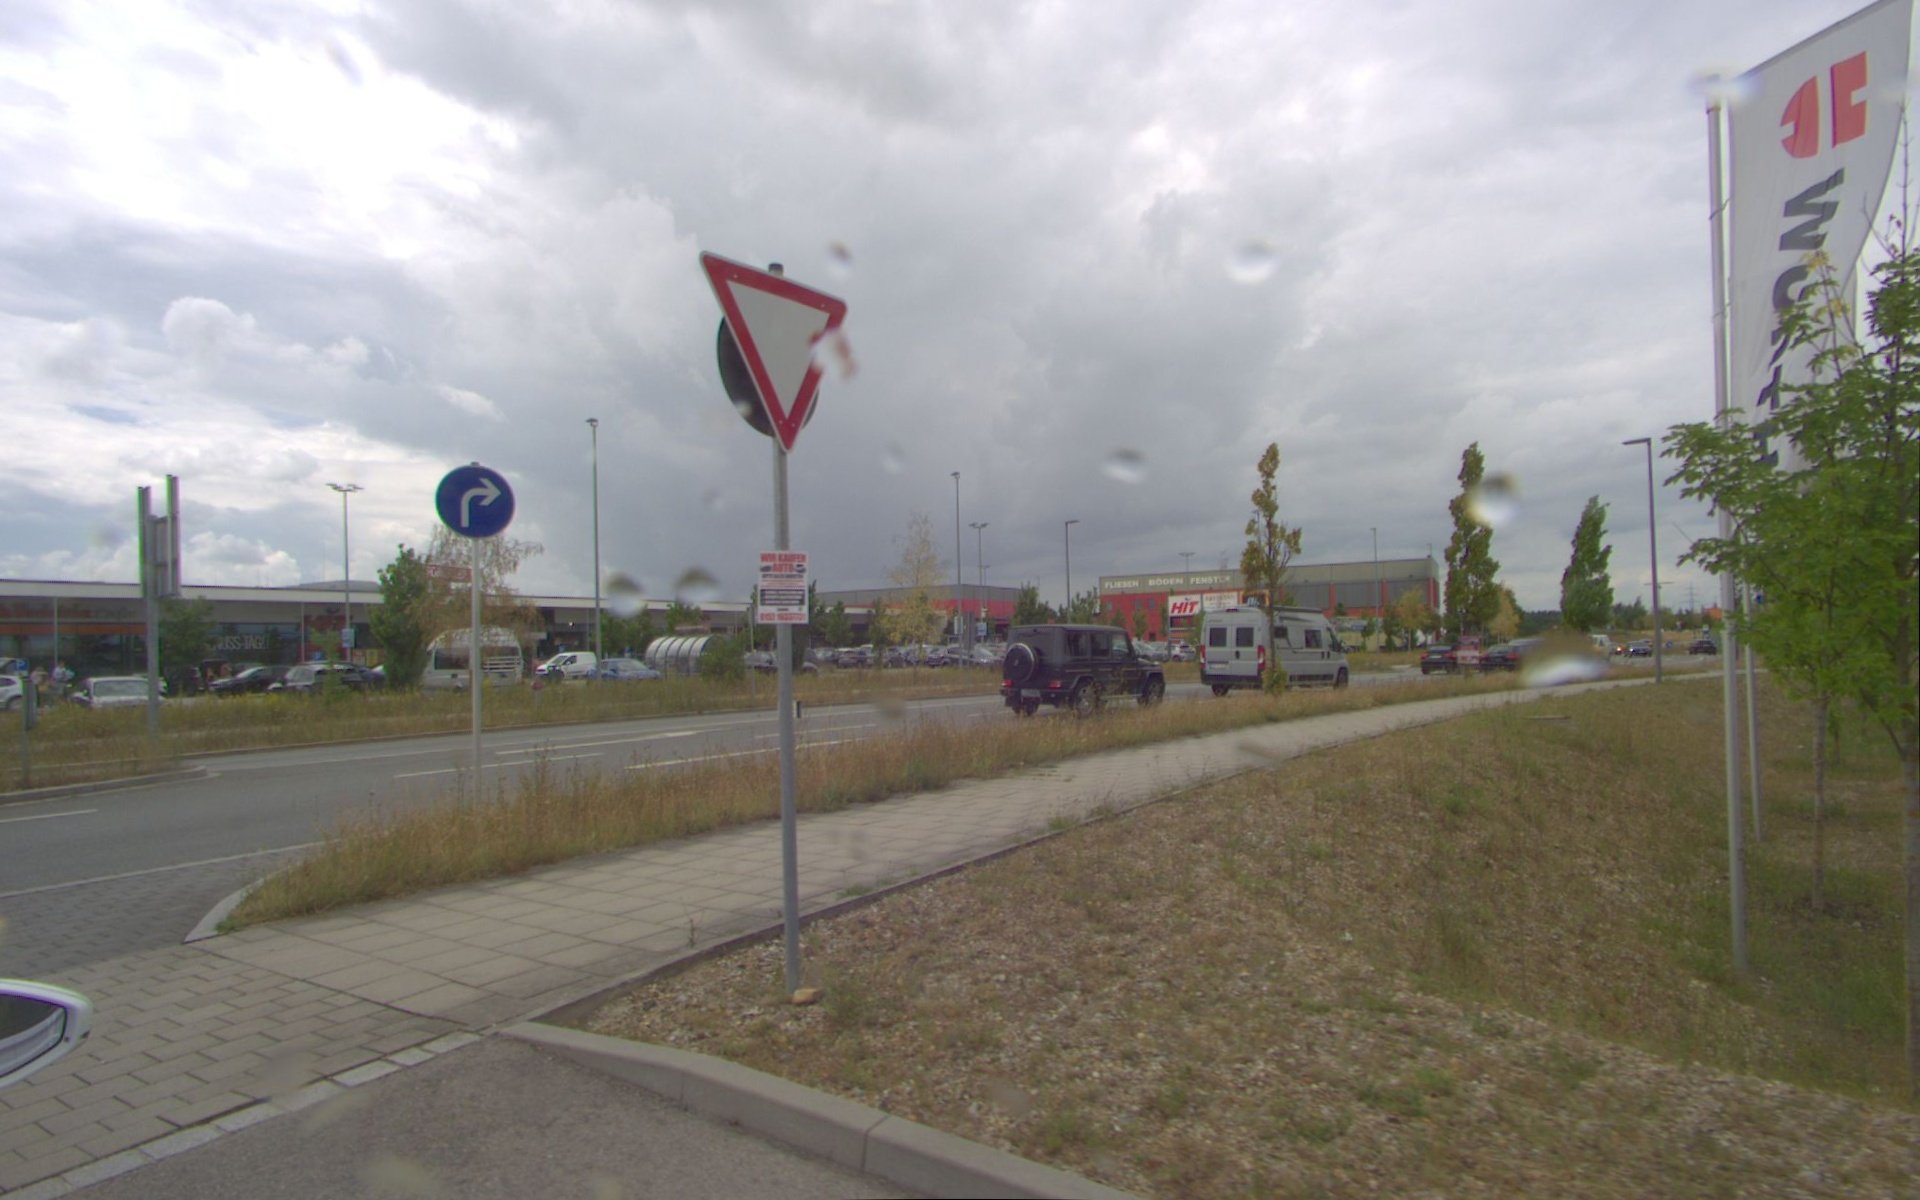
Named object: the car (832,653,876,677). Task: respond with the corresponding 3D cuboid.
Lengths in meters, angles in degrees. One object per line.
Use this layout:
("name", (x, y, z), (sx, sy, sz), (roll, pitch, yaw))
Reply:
("car", (-7.982, 4.892, 75.860), (1.733, 1.674, 3.828), (-2, -2, 21))

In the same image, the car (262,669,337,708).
("car", (-30.940, 4.119, 46.879), (3.953, 1.674, 1.807), (-3, -3, 39))

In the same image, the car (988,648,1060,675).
("car", (3.655, 3.522, 57.530), (3.774, 1.408, 1.898), (-3, -2, 43))

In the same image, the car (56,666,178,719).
("car", (-24.912, 2.716, 29.560), (4.100, 1.401, 1.981), (-4, -4, 38))

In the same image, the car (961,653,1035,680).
("car", (2.100, 3.684, 55.623), (3.774, 1.408, 1.898), (-3, -2, 43))

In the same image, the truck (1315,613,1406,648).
("truck", (36.133, 2.739, 90.358), (8.049, 2.982, 2.673), (-1, -2, -23))

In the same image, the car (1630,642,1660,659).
("car", (61.872, 4.549, 90.414), (1.754, 1.402, 4.118), (-3, -2, 40))

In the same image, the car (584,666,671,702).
("car", (-14.164, 3.562, 42.600), (4.108, 1.401, 1.795), (-5, -4, 43))

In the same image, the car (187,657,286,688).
("car", (-39.724, 3.963, 55.063), (1.971, 1.527, 3.981), (-2, -3, 31))

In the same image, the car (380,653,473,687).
("car", (-28.485, 3.701, 53.560), (1.976, 1.638, 3.972), (-3, -3, 38))

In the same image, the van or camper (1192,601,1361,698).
("van or camper", (9.501, 1.463, 29.692), (6.109, 2.573, 2.175), (2, -4, -45))

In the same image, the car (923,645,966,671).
("car", (-1.093, 4.103, 71.399), (1.733, 1.674, 3.828), (-2, -2, 21))

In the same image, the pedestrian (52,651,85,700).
("pedestrian", (-38.098, 3.236, 42.805), (0.990, 2.039, 0.862), (-2, -2, 35))

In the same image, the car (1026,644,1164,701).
("car", (4.043, 2.085, 29.507), (4.207, 1.468, 1.784), (1, -3, -44))

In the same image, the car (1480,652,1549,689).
("car", (23.168, 2.920, 41.815), (3.307, 1.402, 1.482), (1, -4, -42))

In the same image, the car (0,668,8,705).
("car", (-39.694, 3.424, 38.831), (1.643, 1.472, 3.743), (-2, -3, 30))

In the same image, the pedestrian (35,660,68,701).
("pedestrian", (-37.692, 3.327, 41.542), (0.887, 1.652, 0.819), (-3, -3, 35))

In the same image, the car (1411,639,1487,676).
("car", (22.637, 2.653, 46.274), (1.890, 1.588, 4.297), (-3, -3, 44))

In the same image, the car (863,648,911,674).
("car", (-5.392, 4.530, 74.185), (1.966, 1.756, 3.991), (-2, -2, 22))

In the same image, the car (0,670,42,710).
("car", (-37.001, 3.408, 37.352), (1.643, 1.472, 3.743), (-2, -3, 30))

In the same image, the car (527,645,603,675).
("car", (-25.601, 3.880, 65.009), (1.969, 1.841, 4.413), (-3, -3, 27))

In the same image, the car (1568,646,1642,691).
("car", (26.356, 2.785, 40.880), (3.469, 1.697, 1.671), (1, -4, -42))

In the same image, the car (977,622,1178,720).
("car", (2.720, 1.531, 22.378), (1.980, 1.947, 4.806), (-3, -4, 43))

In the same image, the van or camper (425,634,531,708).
("van or camper", (-17.731, 2.600, 36.772), (3.960, 2.523, 2.270), (-4, -4, 44))

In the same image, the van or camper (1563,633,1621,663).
("van or camper", (43.885, 3.330, 69.480), (5.148, 1.935, 1.984), (0, -3, -41))

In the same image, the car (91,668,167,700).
("car", (-43.451, 4.375, 52.351), (3.944, 1.527, 1.990), (-3, -3, 32))

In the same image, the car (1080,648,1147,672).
("car", (9.701, 3.797, 63.561), (3.774, 1.408, 1.898), (-3, -2, 43))

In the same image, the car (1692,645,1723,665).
("car", (73.098, 5.362, 97.934), (1.782, 1.872, 3.900), (-3, -3, 29))

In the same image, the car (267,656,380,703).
("car", (-21.387, 2.667, 33.613), (4.100, 1.469, 1.981), (-4, -4, 38))

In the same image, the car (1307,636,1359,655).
("car", (31.212, 3.800, 83.759), (3.788, 1.446, 1.734), (-3, -3, 31))
